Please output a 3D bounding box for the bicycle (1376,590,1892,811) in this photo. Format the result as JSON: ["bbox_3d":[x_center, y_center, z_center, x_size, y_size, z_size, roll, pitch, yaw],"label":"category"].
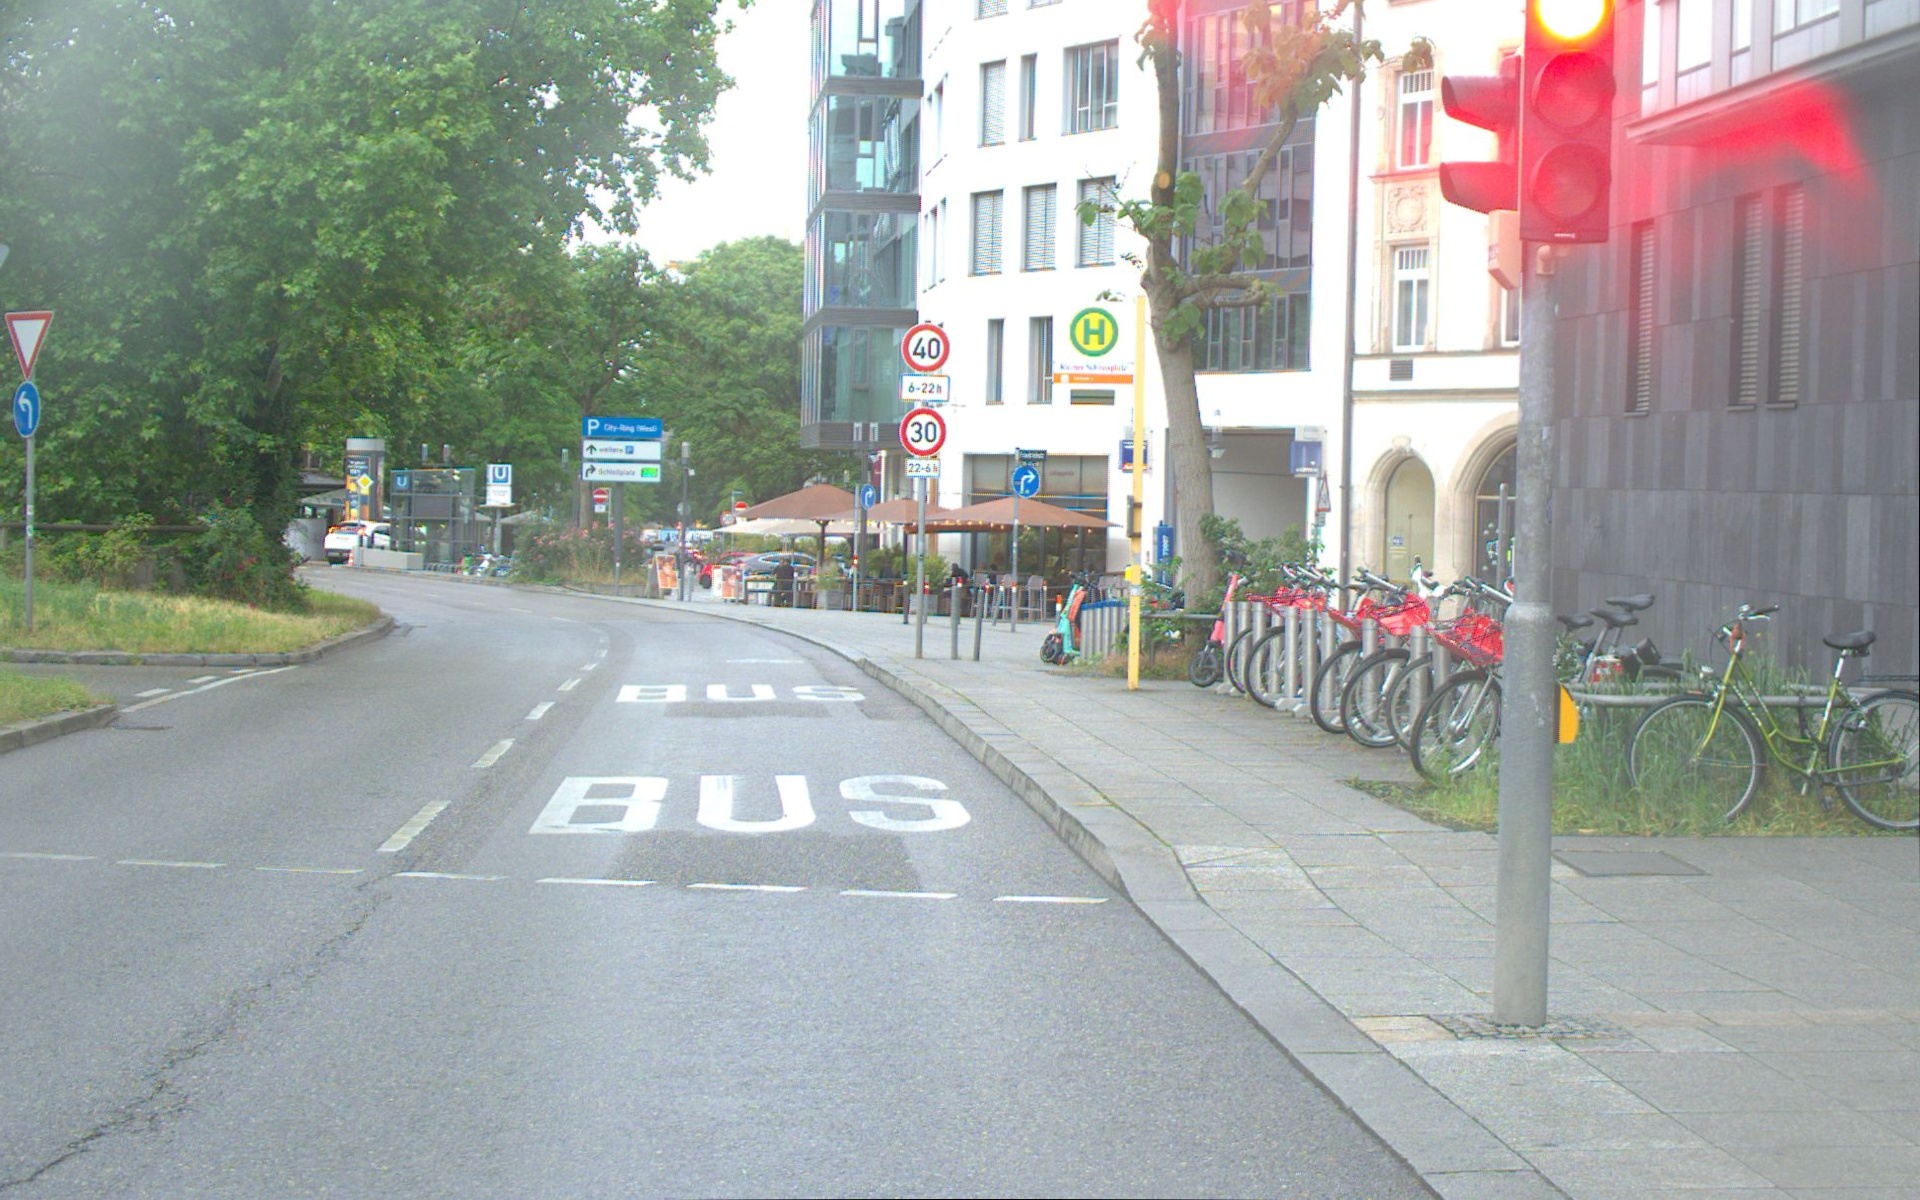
[{"bbox_3d":[3.500,0.517,17.949,2.535,1.083,0.677,1,1,-5],"label":"bicycle"}]

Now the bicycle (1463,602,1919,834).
[{"bbox_3d":[3.744,0.562,16.472,2.535,1.053,0.677,1,1,-5],"label":"bicycle"}]

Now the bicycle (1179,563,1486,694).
[{"bbox_3d":[3.190,0.238,29.542,2.535,1.083,0.627,1,1,-5],"label":"bicycle"}]

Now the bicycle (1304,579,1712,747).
[{"bbox_3d":[3.576,0.406,22.509,2.535,1.056,0.677,1,1,-5],"label":"bicycle"}]

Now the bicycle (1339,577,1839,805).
[{"bbox_3d":[3.413,0.489,18.752,2.535,1.083,0.677,3,1,-5],"label":"bicycle"}]

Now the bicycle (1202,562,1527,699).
[{"bbox_3d":[3.291,0.244,28.072,2.535,1.083,0.677,1,1,-5],"label":"bicycle"}]

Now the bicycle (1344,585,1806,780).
[{"bbox_3d":[3.557,0.472,19.978,2.535,1.083,0.677,1,1,-5],"label":"bicycle"}]

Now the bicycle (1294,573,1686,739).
[{"bbox_3d":[3.594,0.375,23.418,2.535,1.083,0.677,1,1,-5],"label":"bicycle"}]

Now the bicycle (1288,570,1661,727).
[{"bbox_3d":[3.673,0.340,24.614,2.535,1.083,0.677,1,1,-5],"label":"bicycle"}]

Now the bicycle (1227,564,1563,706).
[{"bbox_3d":[3.426,0.273,27.184,2.535,1.083,0.677,1,1,-5],"label":"bicycle"}]

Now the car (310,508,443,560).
[{"bbox_3d":[-20.281,-2.290,119.546,3.988,1.695,2.186,1,1,-38],"label":"car"}]

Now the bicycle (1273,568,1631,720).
[{"bbox_3d":[3.650,0.321,25.592,2.535,1.083,0.677,1,1,-5],"label":"bicycle"}]

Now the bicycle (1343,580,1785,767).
[{"bbox_3d":[3.647,0.439,20.832,2.535,1.083,0.677,1,1,-5],"label":"bicycle"}]

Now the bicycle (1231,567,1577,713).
[{"bbox_3d":[3.400,0.302,26.432,2.535,1.083,0.677,1,1,-5],"label":"bicycle"}]

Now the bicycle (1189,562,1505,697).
[{"bbox_3d":[3.235,0.242,28.820,2.535,1.083,0.677,1,1,-5],"label":"bicycle"}]

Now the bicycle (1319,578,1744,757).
[{"bbox_3d":[3.580,0.419,21.643,2.535,1.083,0.677,1,1,-5],"label":"bicycle"}]
